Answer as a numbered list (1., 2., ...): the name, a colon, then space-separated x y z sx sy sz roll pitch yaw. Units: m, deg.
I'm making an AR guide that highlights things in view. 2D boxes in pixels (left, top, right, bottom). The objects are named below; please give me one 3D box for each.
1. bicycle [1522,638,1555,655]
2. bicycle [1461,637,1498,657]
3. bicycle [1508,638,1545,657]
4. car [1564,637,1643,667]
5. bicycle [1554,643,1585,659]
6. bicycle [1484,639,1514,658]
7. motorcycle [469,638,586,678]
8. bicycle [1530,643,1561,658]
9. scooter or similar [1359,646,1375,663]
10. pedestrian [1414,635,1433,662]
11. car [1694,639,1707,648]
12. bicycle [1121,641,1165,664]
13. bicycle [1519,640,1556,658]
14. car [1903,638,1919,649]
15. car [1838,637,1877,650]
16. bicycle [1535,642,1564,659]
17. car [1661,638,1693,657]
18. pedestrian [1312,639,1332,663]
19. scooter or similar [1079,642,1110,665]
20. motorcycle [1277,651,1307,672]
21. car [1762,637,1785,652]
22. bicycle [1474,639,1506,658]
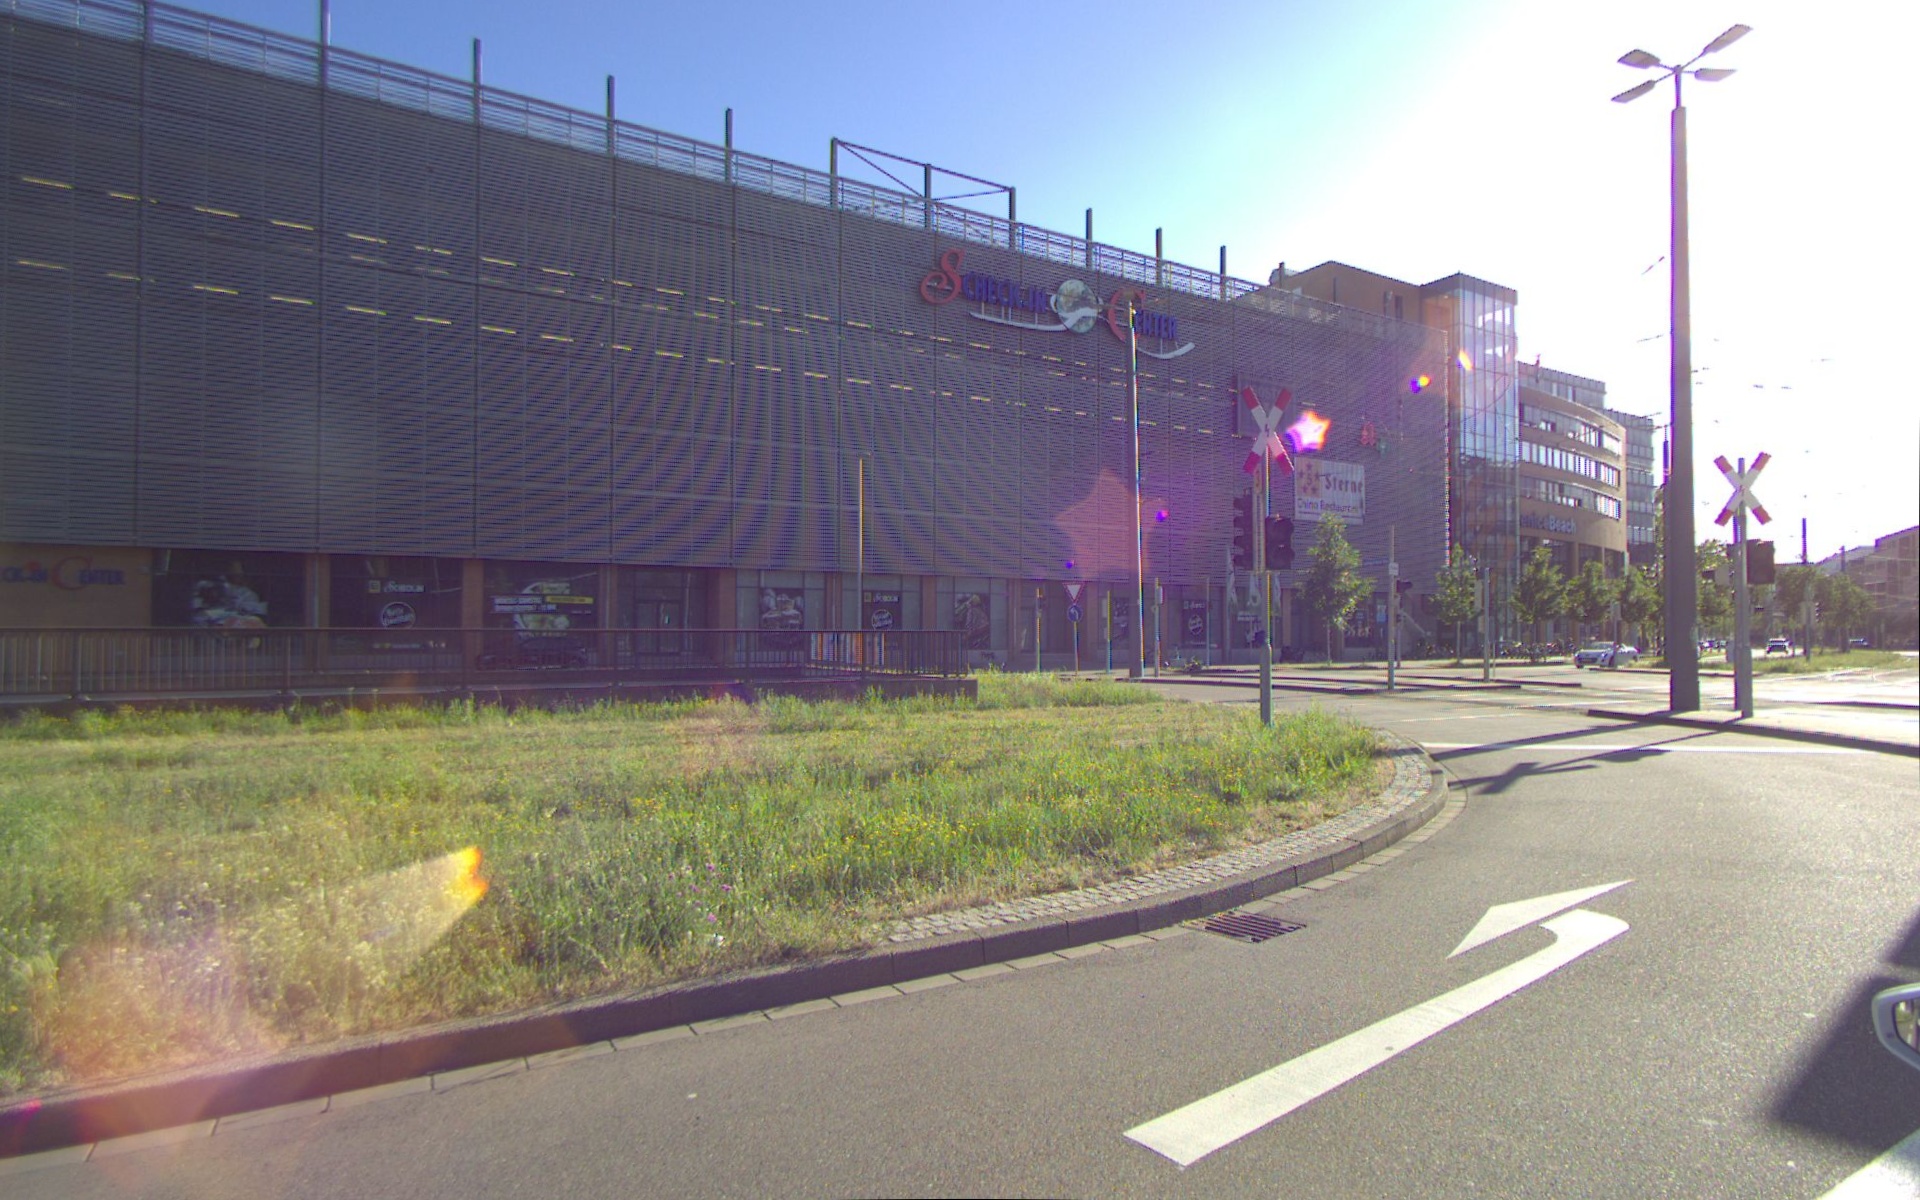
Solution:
1. bicycle: 50.242 4.029 87.267 0.760 1.452 2.603 2 -3 -21
2. bicycle: 39.609 3.588 76.599 1.060 1.452 2.367 2 -3 -21
3. bicycle: 44.788 3.743 79.409 0.891 1.452 2.558 2 -3 -21
4. car: 35.020 2.816 54.635 4.482 1.566 1.982 1 -2 -33
5. bicycle: 54.760 4.575 90.279 0.777 1.452 2.417 2 -3 -21
6. bicycle: 41.562 3.763 77.515 0.795 1.452 1.975 2 -3 -21
7. motorcycle: -16.641 2.193 38.683 3.953 1.472 1.984 1 -2 -30
8. bicycle: 51.373 4.426 88.116 0.734 1.252 2.410 2 -3 -21
9. scooter or similar: 27.422 3.673 67.695 1.138 1.124 0.419 3 -4 -30
10. pedestrian: 32.589 3.409 70.633 0.894 1.848 0.823 2 -4 -29
11. car: 128.918 7.549 174.878 1.626 1.609 3.351 -1 -2 32
12. bicycle: 10.107 2.895 55.393 2.384 1.236 0.797 1 -2 -27
13. bicycle: 46.501 3.941 80.897 0.891 1.452 2.558 2 -3 -21
14. car: 138.145 6.299 145.268 4.372 1.661 1.979 2 -2 -38
15. car: 121.538 5.951 135.974 3.930 1.728 1.996 1 -3 -12
16. bicycle: 52.024 4.471 88.671 0.707 1.452 2.242 2 -3 -21
17. car: 56.906 3.740 79.692 1.870 1.425 3.985 -2 -3 37
18. pedestrian: 24.218 3.448 67.261 0.819 1.586 0.983 3 -4 -30
19. scooter or similar: 7.496 2.971 55.984 1.555 1.222 0.790 3 -4 -30
20. motorcycle: 20.490 3.801 61.953 1.872 1.254 0.672 2 -3 -31
21. car: 89.349 4.886 110.309 1.970 1.661 4.392 -1 -2 39
22. bicycle: 40.600 3.711 76.993 0.848 1.452 2.080 2 -3 -21
